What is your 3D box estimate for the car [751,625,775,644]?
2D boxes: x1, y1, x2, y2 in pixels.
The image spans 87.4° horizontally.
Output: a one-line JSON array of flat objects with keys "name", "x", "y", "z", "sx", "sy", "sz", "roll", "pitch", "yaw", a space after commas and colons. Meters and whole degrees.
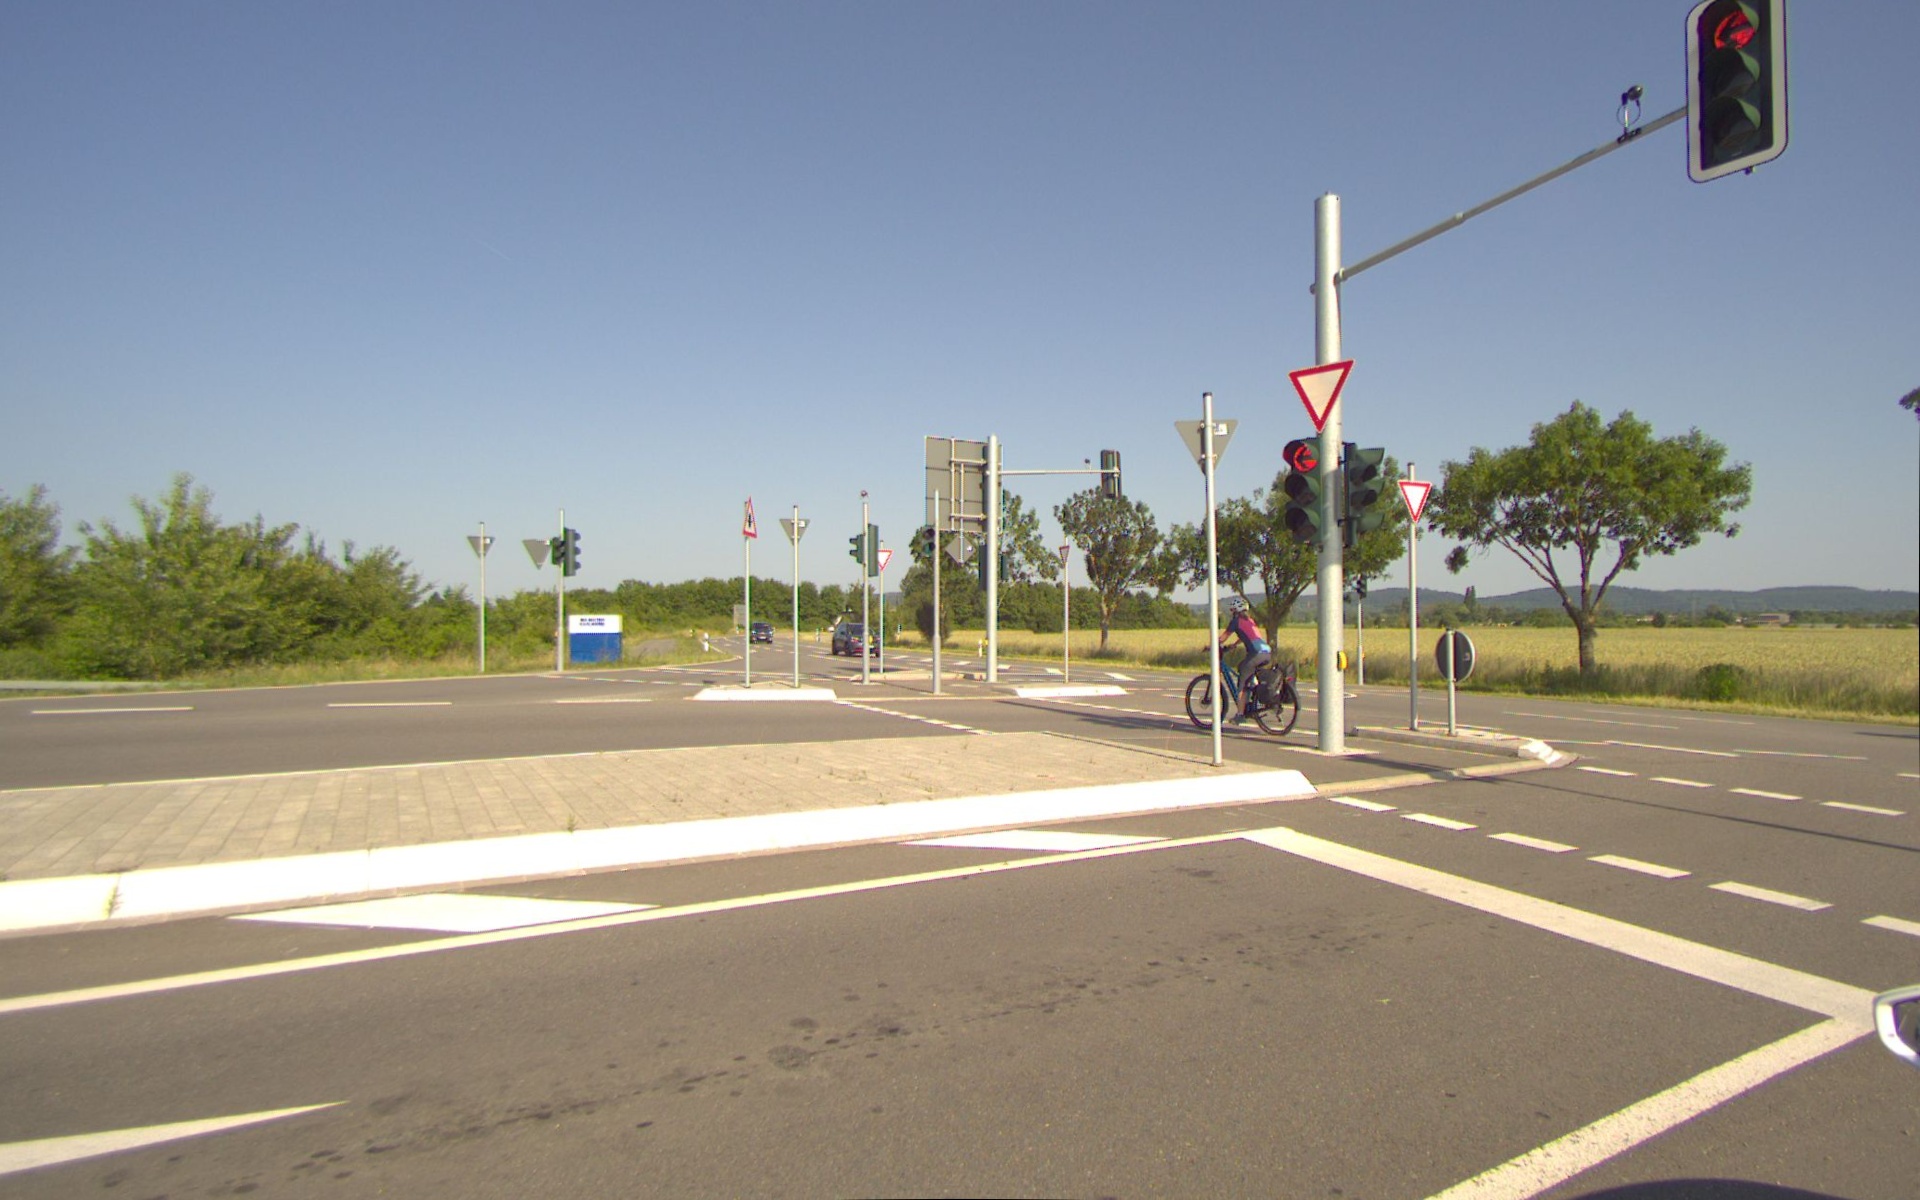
[{"name": "car", "x": -17.043, "y": 2.983, "z": 86.834, "sx": 1.740, "sy": 1.578, "sz": 3.843, "roll": 2, "pitch": -3, "yaw": -15}]

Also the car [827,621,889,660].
[{"name": "car", "x": -5.209, "y": 1.999, "z": 50.699, "sx": 1.970, "sy": 1.746, "sz": 4.596, "roll": 2, "pitch": 0, "yaw": -21}]

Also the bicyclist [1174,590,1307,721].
[{"name": "bicyclist", "x": 3.706, "y": 0.692, "z": 13.320, "sx": 1.153, "sy": 1.623, "sz": 1.271, "roll": 0, "pitch": 0, "yaw": -34}]

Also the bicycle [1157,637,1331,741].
[{"name": "bicycle", "x": 3.695, "y": 1.125, "z": 13.272, "sx": 0.881, "sy": 1.202, "sz": 2.142, "roll": 2, "pitch": -1, "yaw": -34}]
